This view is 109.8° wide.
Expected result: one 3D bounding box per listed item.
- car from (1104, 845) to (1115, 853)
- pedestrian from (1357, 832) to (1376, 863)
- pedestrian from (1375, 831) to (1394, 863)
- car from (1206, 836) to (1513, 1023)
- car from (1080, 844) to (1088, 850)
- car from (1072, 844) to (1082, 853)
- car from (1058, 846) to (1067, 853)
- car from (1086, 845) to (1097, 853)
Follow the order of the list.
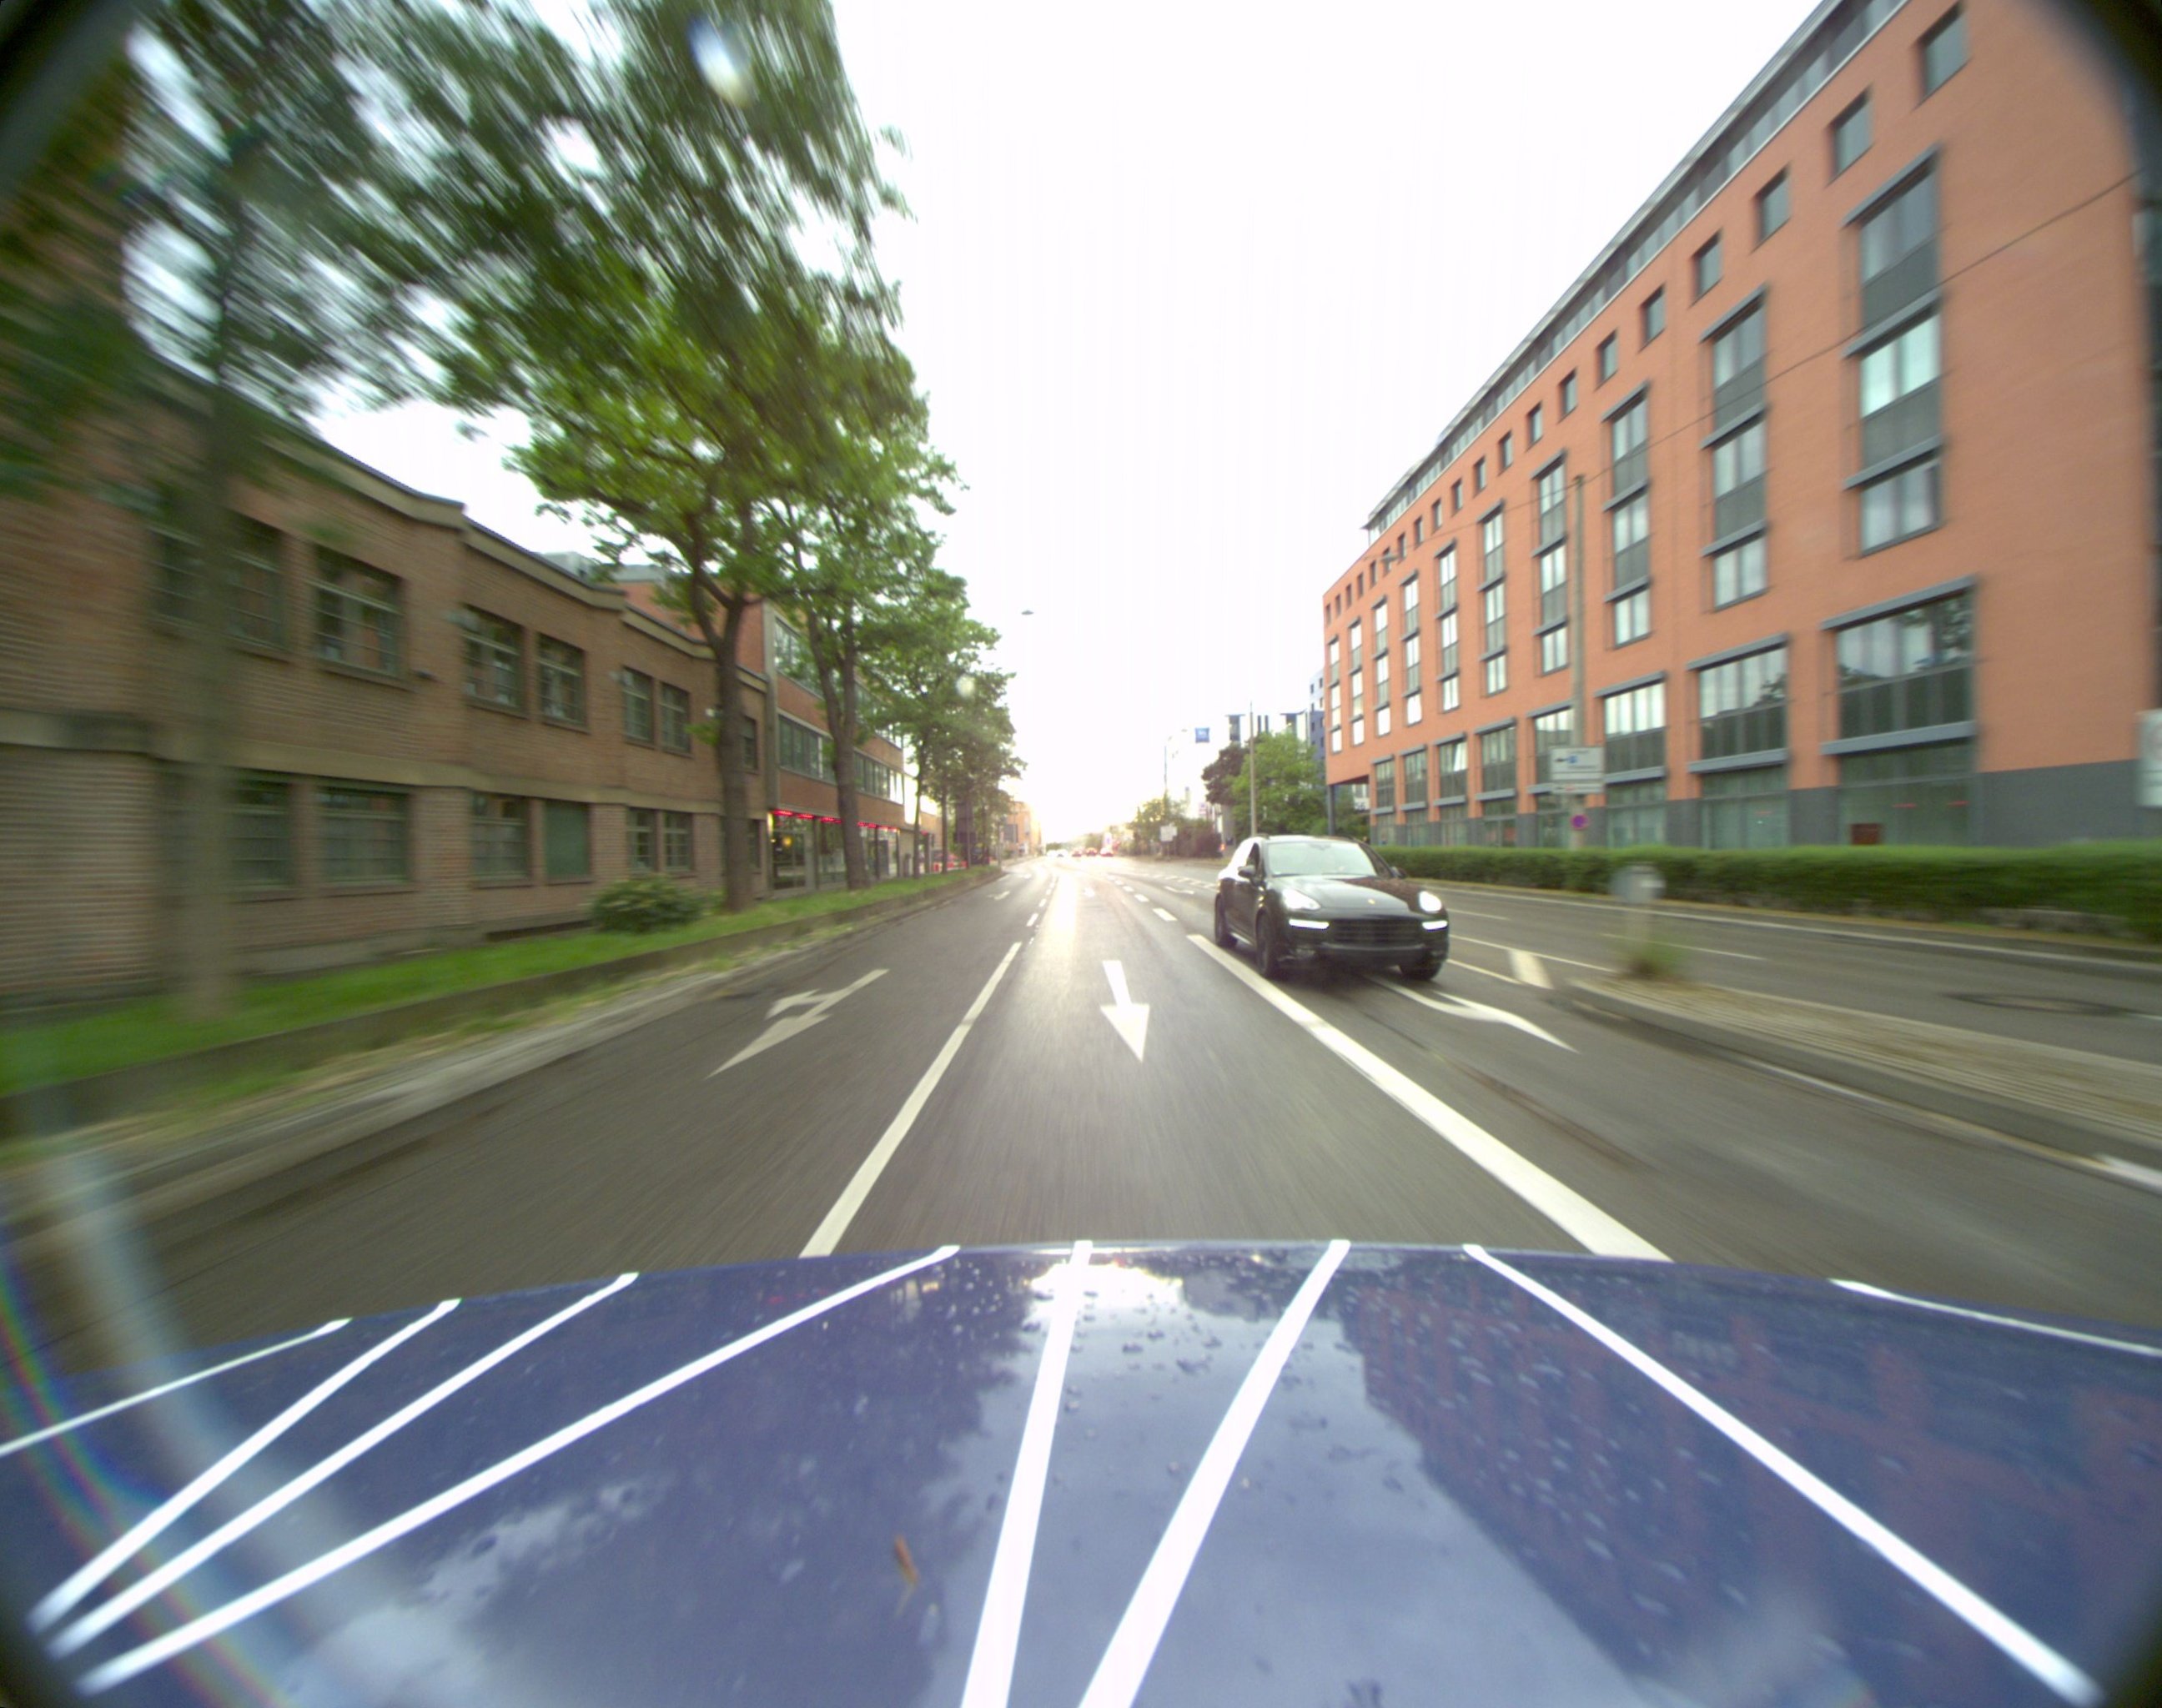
[{"bbox_3d":[5.696,-0.977,151.360,1.767,1.559,3.998,0,1,-3],"label":"car"},{"bbox_3d":[17.290,-0.399,45.989,0.747,1.830,0.885,-3,1,-1],"label":"pedestrian"},{"bbox_3d":[18.239,-0.428,45.667,0.747,1.830,0.885,-3,1,-1],"label":"pedestrian"},{"bbox_3d":[2.972,0.644,9.588,1.998,1.656,5.424,-1,1,2],"label":"car"},{"bbox_3d":[0.745,-1.798,201.697,1.999,1.543,3.999,-2,1,-1],"label":"car"},{"bbox_3d":[-0.819,-1.094,150.947,1.999,1.543,3.999,-2,1,-1],"label":"car"},{"bbox_3d":[-3.688,-0.892,152.106,1.799,1.501,4.000,-1,0,0],"label":"car"},{"bbox_3d":[2.164,-1.052,158.529,1.999,1.543,3.999,-2,1,-1],"label":"car"}]
